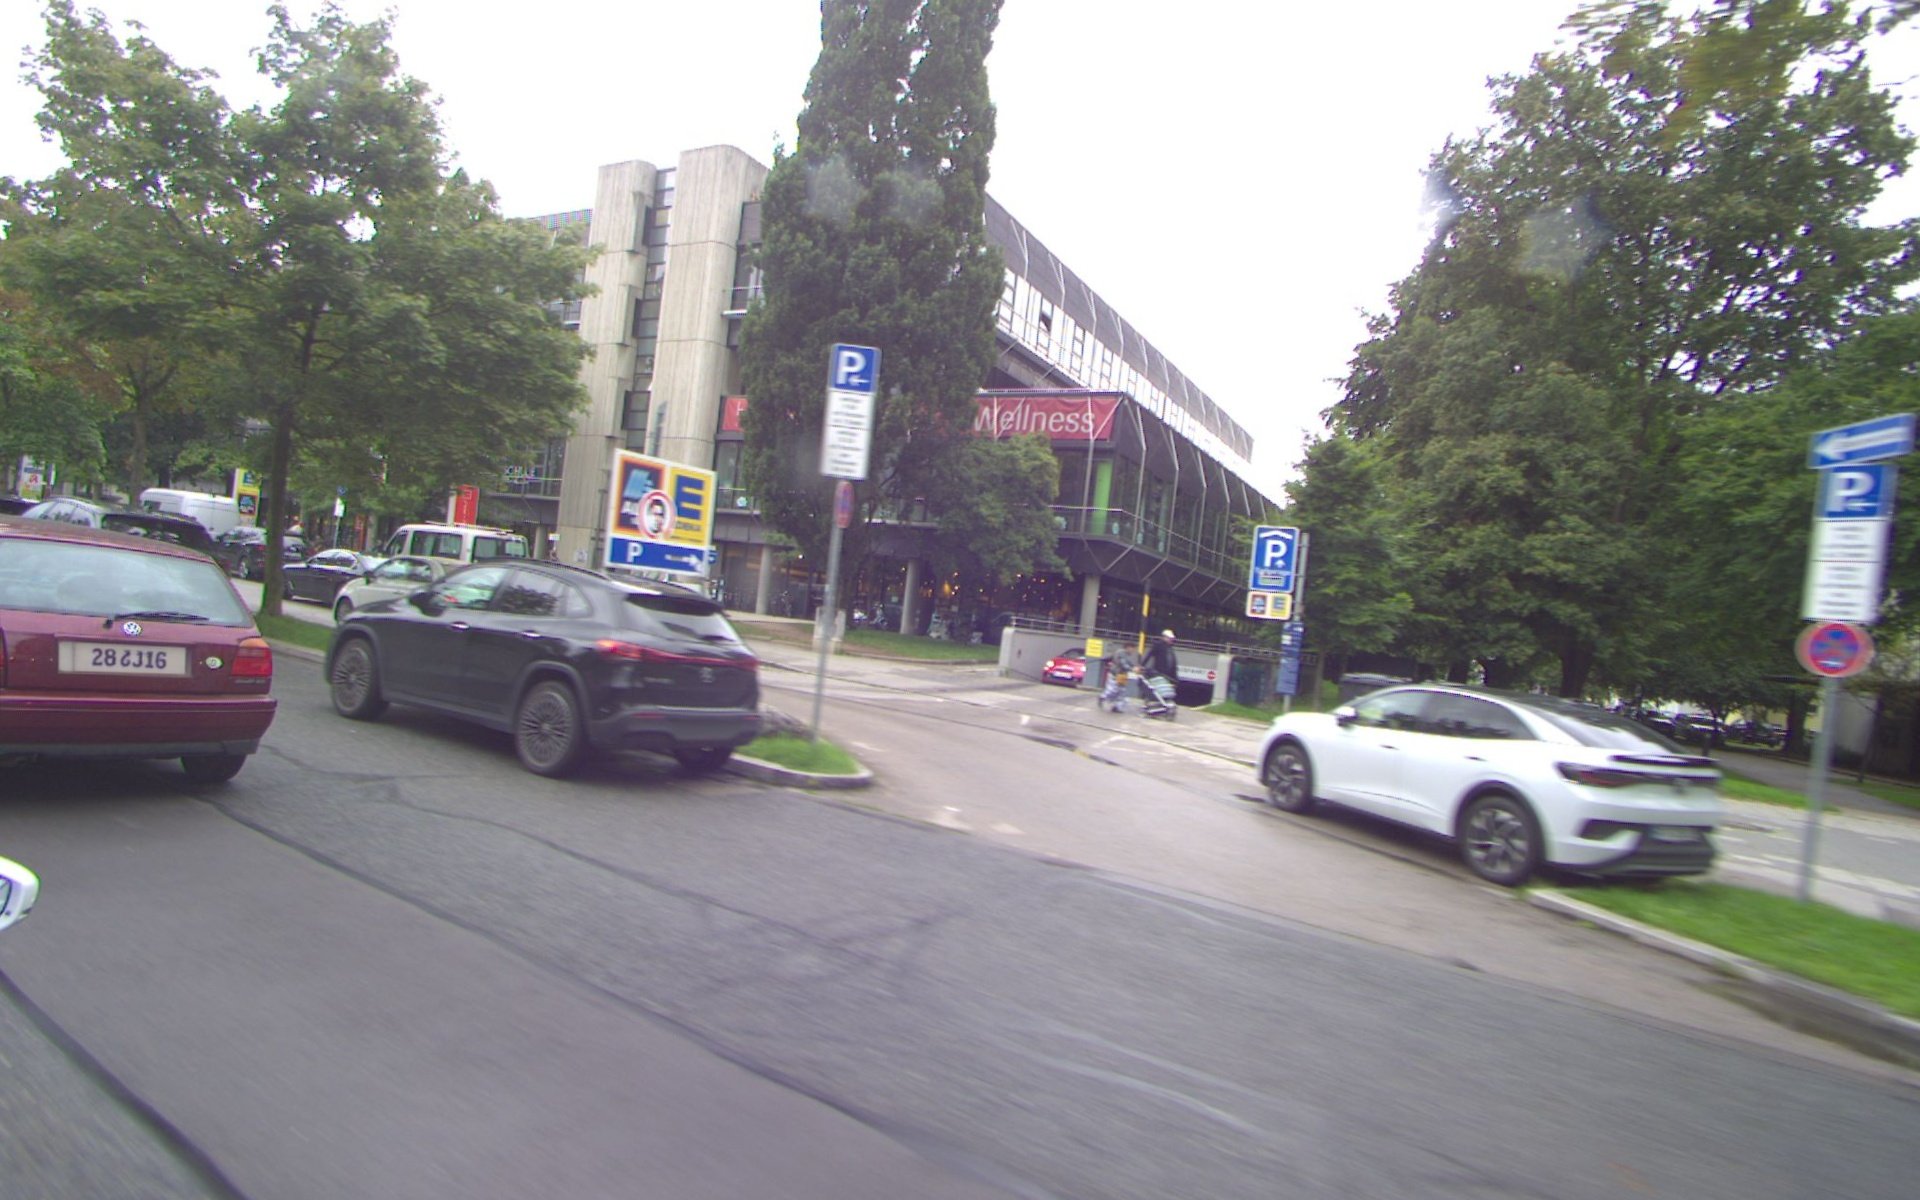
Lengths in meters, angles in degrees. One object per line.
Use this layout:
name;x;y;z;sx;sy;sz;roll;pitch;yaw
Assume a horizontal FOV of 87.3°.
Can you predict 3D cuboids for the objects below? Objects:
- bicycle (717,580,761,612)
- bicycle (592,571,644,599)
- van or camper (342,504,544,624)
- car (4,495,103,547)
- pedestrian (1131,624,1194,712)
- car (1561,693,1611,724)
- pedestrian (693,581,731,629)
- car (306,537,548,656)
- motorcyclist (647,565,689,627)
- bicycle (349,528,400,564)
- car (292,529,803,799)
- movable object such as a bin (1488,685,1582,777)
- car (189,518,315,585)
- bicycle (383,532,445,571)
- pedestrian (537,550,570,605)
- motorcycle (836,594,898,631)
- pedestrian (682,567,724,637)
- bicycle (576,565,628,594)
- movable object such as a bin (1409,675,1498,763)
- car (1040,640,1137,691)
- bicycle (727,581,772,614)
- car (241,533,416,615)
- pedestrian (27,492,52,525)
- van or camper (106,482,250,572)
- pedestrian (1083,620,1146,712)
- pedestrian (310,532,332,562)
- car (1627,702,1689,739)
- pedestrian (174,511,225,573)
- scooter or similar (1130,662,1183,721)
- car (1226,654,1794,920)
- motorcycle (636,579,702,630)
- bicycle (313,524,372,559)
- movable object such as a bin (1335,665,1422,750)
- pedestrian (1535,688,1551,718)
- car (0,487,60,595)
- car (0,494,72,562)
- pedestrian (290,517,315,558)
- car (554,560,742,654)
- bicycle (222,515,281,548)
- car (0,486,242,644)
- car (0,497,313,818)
bicycle;-9.924;-0.161;45.242;0.577;1.219;2.141;7;-1;29
bicycle;-14.529;-0.633;42.754;0.734;0.969;2.044;7;-1;30
van or camper;-14.192;-1.027;27.472;5.858;2.589;1.996;7;0;32
car;-37.907;-3.315;42.047;4.422;1.652;1.687;7;0;30
pedestrian;4.323;1.438;21.431;0.924;1.744;0.828;7;2;32
car;40.367;6.981;64.973;1.964;1.613;4.455;7;-1;24
pedestrian;-7.194;0.153;29.179;0.687;1.308;0.731;6;2;36
car;-9.400;-0.069;17.687;3.931;1.505;1.768;7;-2;29
motorcyclist;-8.784;-0.116;30.247;0.937;1.762;0.690;7;5;32
bicycle;-28.966;-2.655;49.847;0.783;1.526;2.619;7;0;2
car;-3.731;0.438;8.879;4.377;1.608;1.765;7;-1;30
movable object such as a bin;10.486;2.351;18.381;1.292;1.426;1.338;7;0;30
car;-22.804;-1.568;32.373;3.942;1.684;1.750;7;0;31
bicycle;-26.630;-2.351;49.092;0.784;1.526;2.617;7;0;23
pedestrian;-13.784;-0.765;34.093;0.720;1.773;0.575;7;0;36
motorcycle;-3.827;0.511;41.383;2.335;1.245;0.870;7;2;25
pedestrian;-6.945;0.051;27.171;0.720;1.773;0.575;7;0;36
bicycle;-15.400;-0.879;43.376;0.734;0.969;2.044;7;-1;30
movable object such as a bin;9.360;2.217;19.067;1.292;1.426;1.338;7;0;30
car;3.705;1.895;28.661;1.534;1.165;3.449;7;-2;28
bicycle;-9.395;-0.097;44.971;0.577;1.219;2.141;7;-1;29
car;-15.862;-0.668;25.199;4.758;1.471;1.686;7;-1;32
pedestrian;-51.196;-5.082;55.970;0.690;1.727;0.748;7;1;32
van or camper;-28.070;-2.646;36.051;5.858;2.589;2.026;7;0;32
pedestrian;3.144;1.331;20.497;0.971;1.744;0.539;7;2;32
pedestrian;-30.853;-2.568;48.548;0.541;1.330;0.559;7;0;21
car;39.975;6.887;57.752;1.964;1.613;4.455;7;-1;24
pedestrian;-25.052;-1.906;33.157;0.888;1.873;0.877;7;-1;30
scooter or similar;3.902;1.800;19.955;0.819;1.032;0.500;7;2;31
car;5.031;1.643;10.193;1.947;1.644;4.825;8;-1;-20
motorcycle;-8.758;0.124;30.246;2.032;1.309;0.695;7;4;32
bicycle;-33.562;-3.158;54.746;0.784;1.526;2.616;7;0;25
movable object such as a bin;8.229;2.083;19.748;1.292;1.426;1.338;7;0;30
pedestrian;35.977;6.357;62.123;0.594;1.817;0.612;7;0;25
car;-17.393;-1.204;17.134;4.315;1.671;1.725;7;0;30
car;-26.501;-2.101;27.878;3.943;1.604;1.686;7;-1;32
pedestrian;-31.717;-3.006;48.535;0.668;1.852;0.559;7;0;21
car;-7.340;0.152;23.608;3.934;1.671;1.996;7;0;32
bicycle;-41.297;-3.962;58.672;0.784;1.526;2.616;7;0;25
car;-12.225;-0.571;14.094;4.741;1.721;1.764;7;0;32
car;-5.805;0.120;6.011;3.884;1.471;1.625;7;-1;31
